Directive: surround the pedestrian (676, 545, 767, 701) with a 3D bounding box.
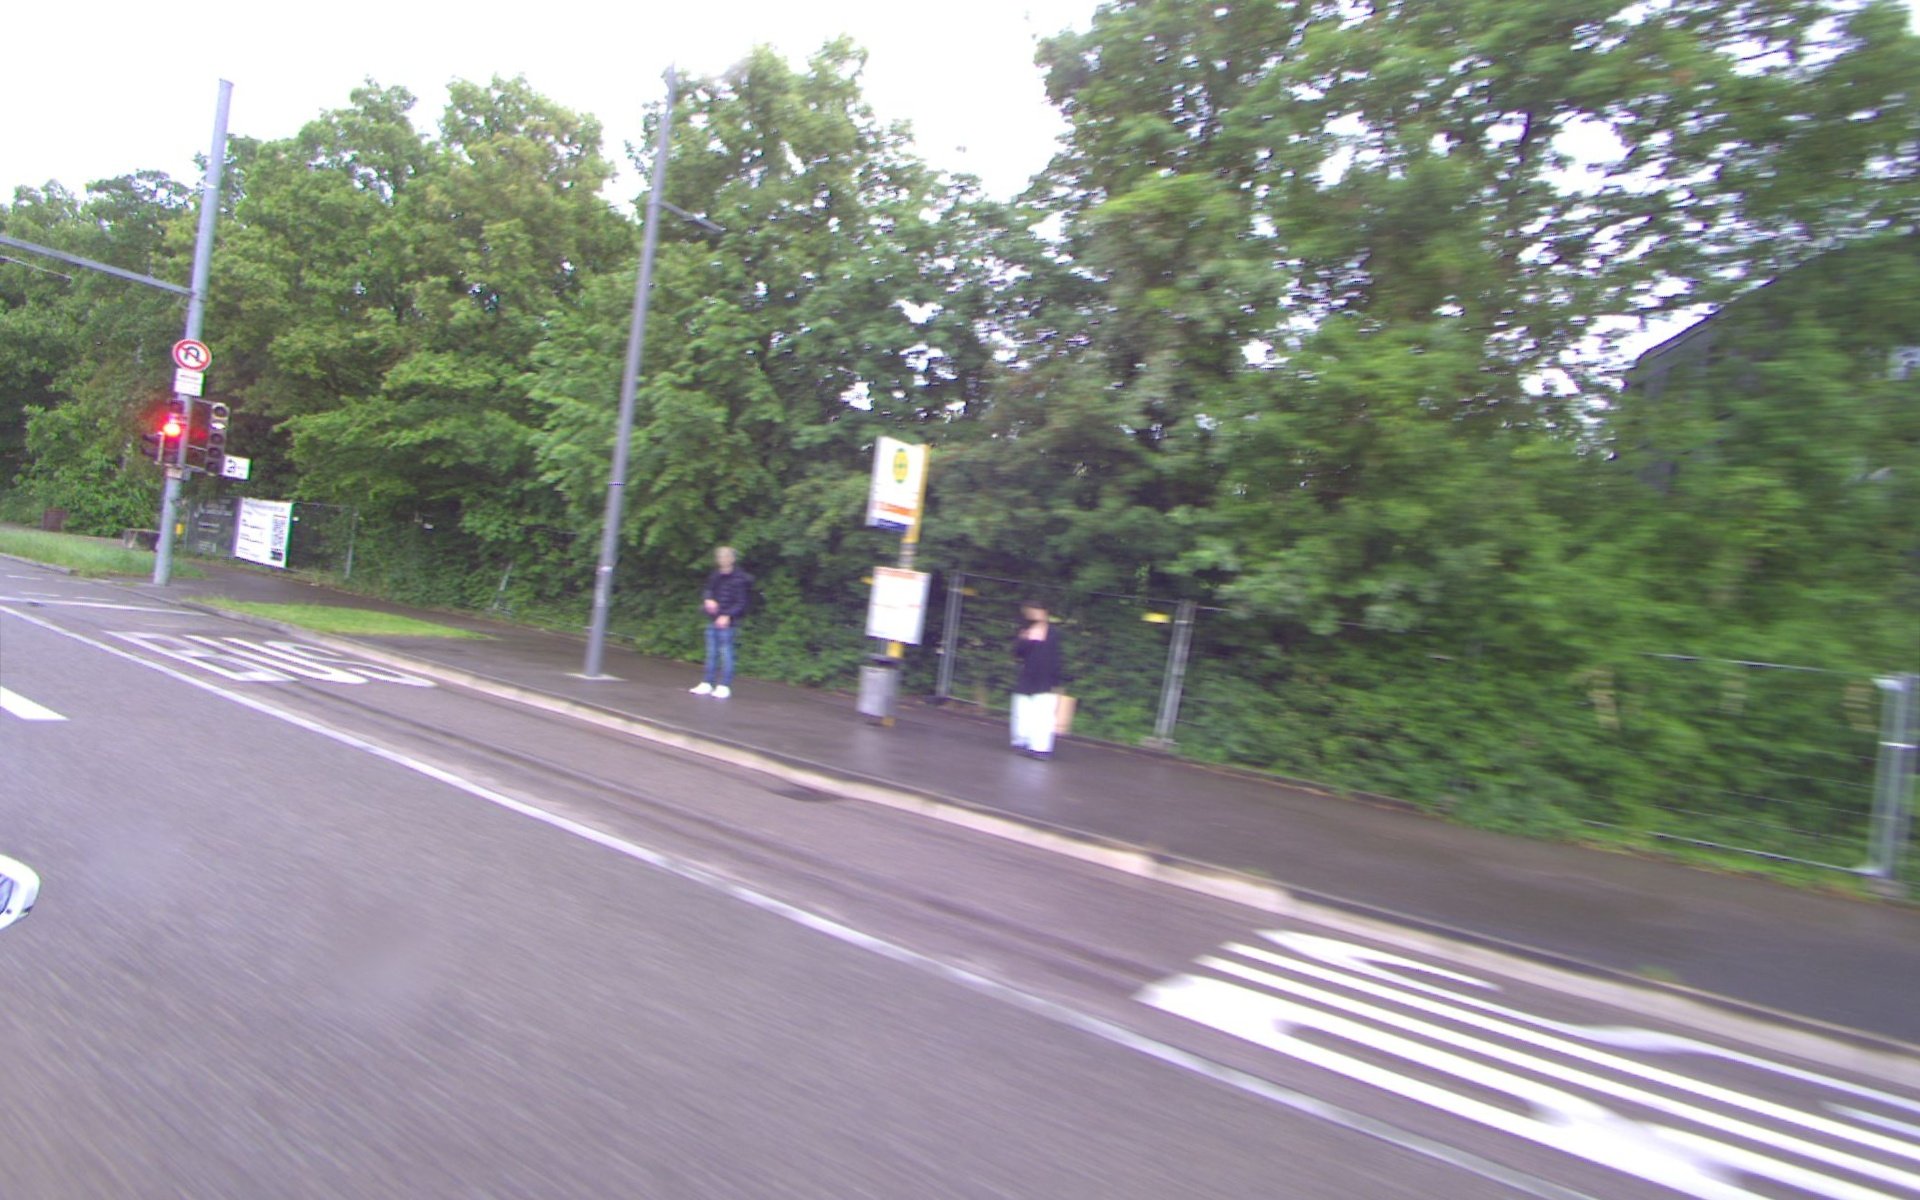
[{"bbox_3d":[-3.103,0.304,13.108,0.706,1.924,0.641,7,1,28],"label":"pedestrian"}]

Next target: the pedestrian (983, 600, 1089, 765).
[{"bbox_3d":[0.845,0.894,11.134,0.779,1.678,0.677,7,1,28],"label":"pedestrian"}]
